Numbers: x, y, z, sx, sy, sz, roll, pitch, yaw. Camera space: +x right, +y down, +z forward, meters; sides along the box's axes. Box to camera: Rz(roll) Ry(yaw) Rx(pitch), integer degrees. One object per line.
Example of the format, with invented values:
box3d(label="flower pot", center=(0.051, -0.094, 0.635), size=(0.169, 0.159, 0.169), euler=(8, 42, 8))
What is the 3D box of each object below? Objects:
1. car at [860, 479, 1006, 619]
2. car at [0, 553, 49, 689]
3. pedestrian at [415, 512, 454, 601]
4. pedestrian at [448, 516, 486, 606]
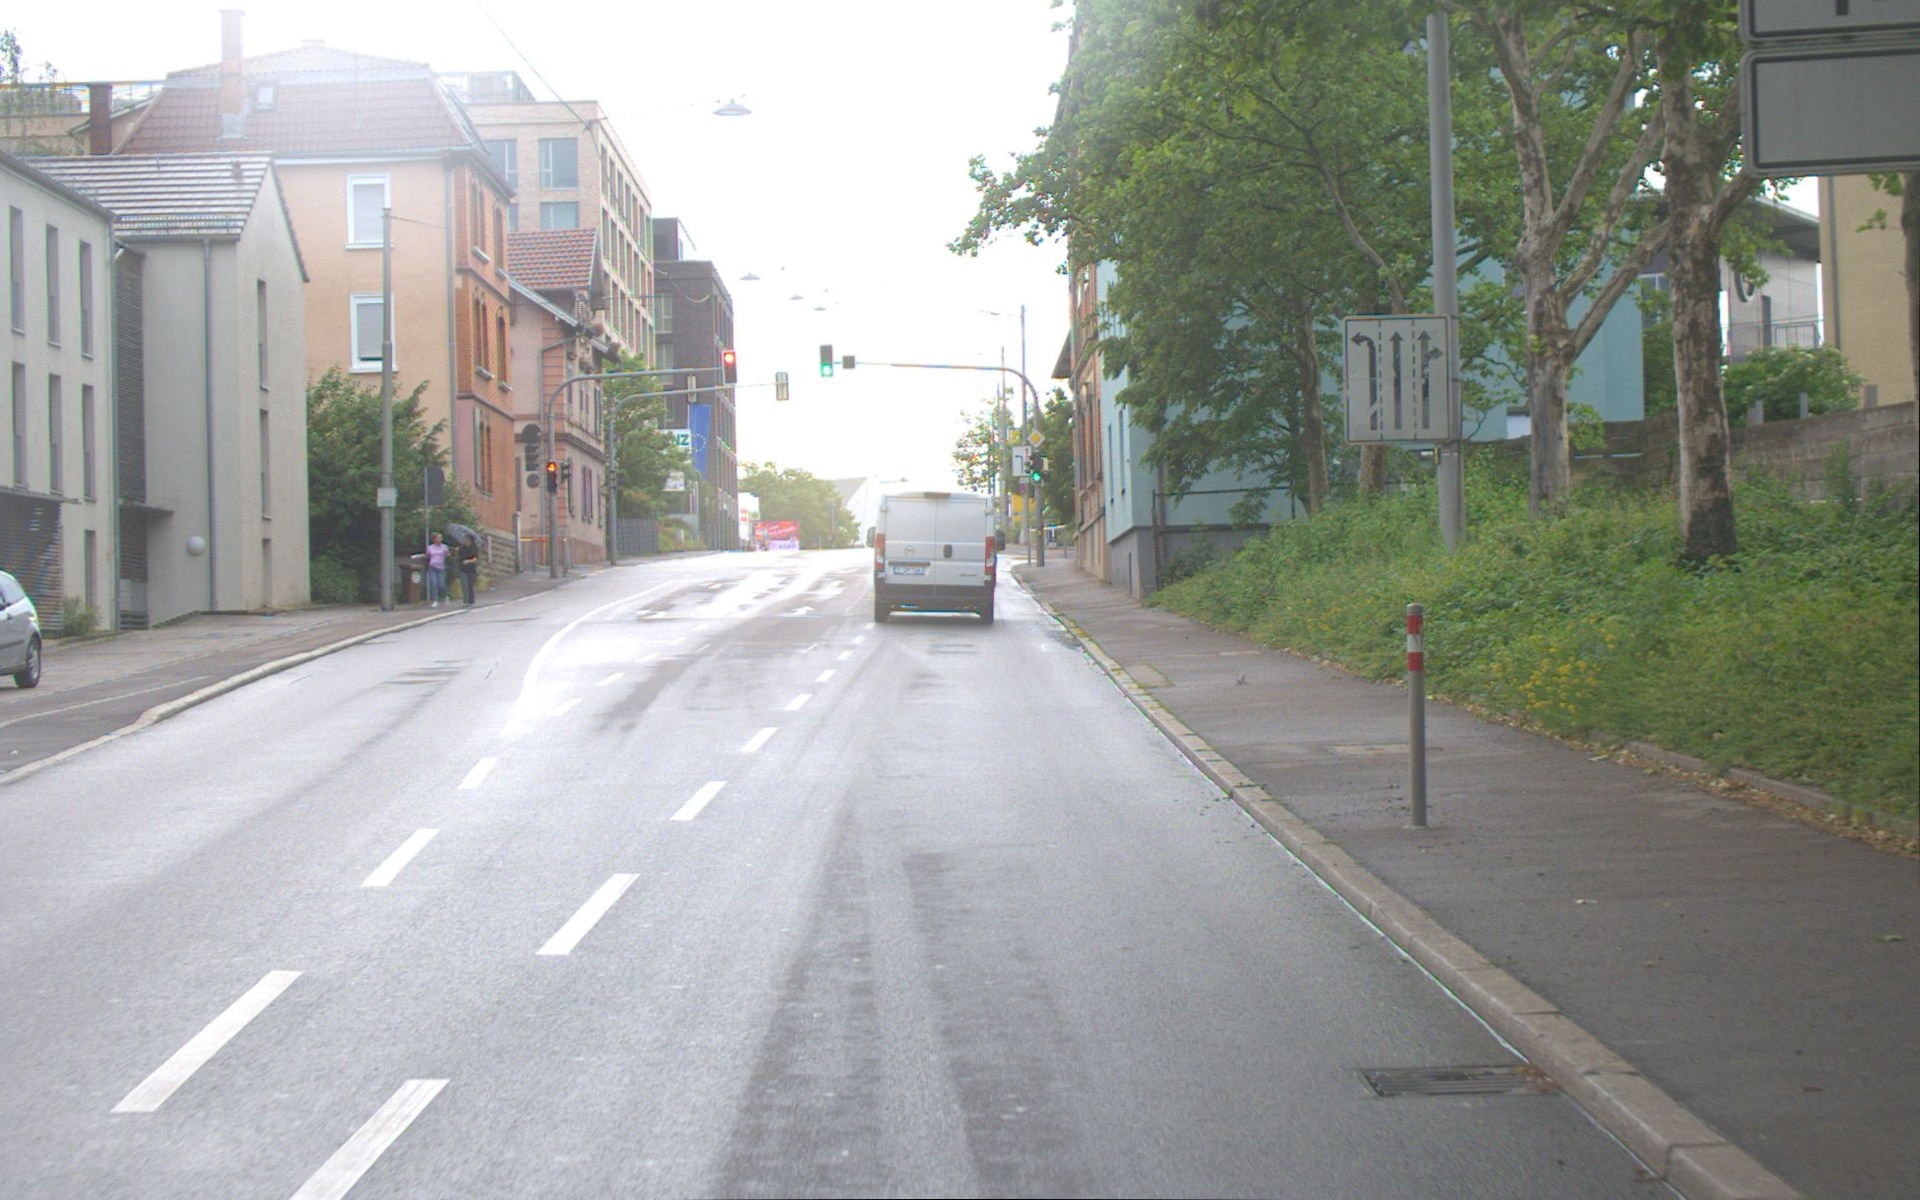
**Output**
box3d(label="car", center=(-0.441, -0.830, 58.761), size=(2.336, 2.223, 4.000), euler=(-2, -1, 0))
box3d(label="car", center=(-11.766, 0.261, 39.404), size=(1.667, 1.525, 4.096), euler=(-1, 1, -2))
box3d(label="pedestrian", center=(-11.947, -0.994, 78.117), size=(0.671, 2.007, 0.941), euler=(0, 1, 4))
box3d(label="pedestrian", center=(-11.195, -0.889, 78.099), size=(0.671, 2.007, 0.941), euler=(0, 1, 4))
